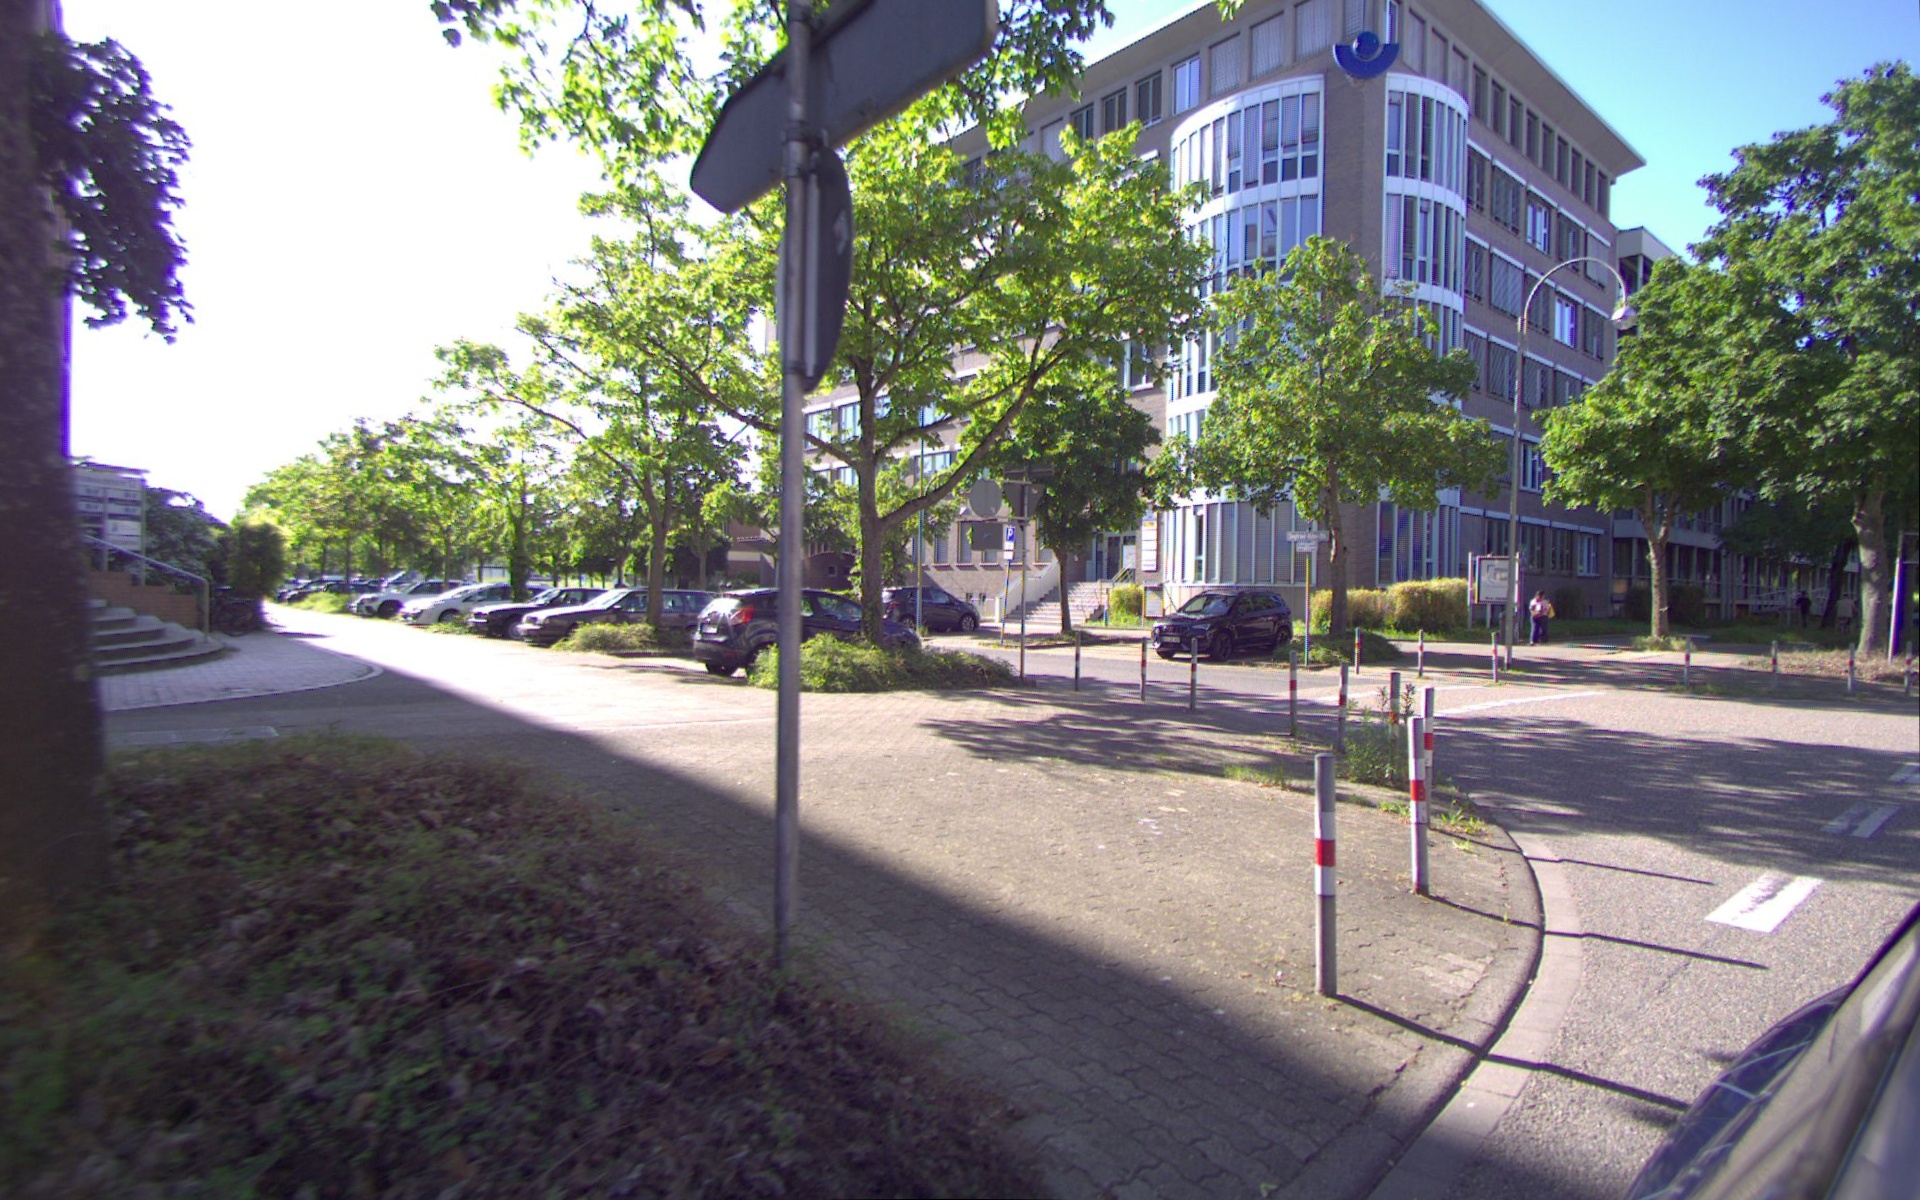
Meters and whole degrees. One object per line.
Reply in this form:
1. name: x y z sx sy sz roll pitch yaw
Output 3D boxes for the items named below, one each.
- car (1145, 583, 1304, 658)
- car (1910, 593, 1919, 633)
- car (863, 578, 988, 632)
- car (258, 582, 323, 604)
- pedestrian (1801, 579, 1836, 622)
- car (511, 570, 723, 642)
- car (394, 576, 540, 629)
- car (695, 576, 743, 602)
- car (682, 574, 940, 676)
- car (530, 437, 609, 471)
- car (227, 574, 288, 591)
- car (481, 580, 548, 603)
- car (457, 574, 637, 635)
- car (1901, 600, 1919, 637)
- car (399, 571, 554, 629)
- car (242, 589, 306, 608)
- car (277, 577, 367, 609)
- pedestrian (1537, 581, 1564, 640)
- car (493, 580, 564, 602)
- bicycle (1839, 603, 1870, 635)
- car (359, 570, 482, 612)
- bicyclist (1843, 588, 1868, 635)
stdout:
1. car: 6.532 0.419 24.749 4.294 1.585 1.740 -2 2 -43
2. car: 41.595 0.646 41.211 1.633 1.609 4.129 -2 4 -44
3. car: -1.159 0.122 34.440 3.925 1.604 1.705 -3 2 -35
4. car: -46.294 -0.447 70.051 3.565 1.259 1.421 3 2 -41
5. pedestrian: 37.575 0.027 44.306 1.001 1.821 1.036 0 -1 -41
6. car: -7.626 0.113 22.683 4.193 1.479 1.694 0 1 -37
7. car: -15.923 0.096 32.786 3.929 1.521 1.534 3 -1 -41
8. car: -14.652 -0.700 61.336 1.507 1.462 3.910 -1 2 -35
9. car: -2.350 0.376 16.472 3.847 1.481 1.656 1 0 -40
10. car: -21.841 -8.121 56.645 3.844 1.462 1.533 -1 2 -43
11. car: -56.503 -1.438 81.426 3.842 1.260 1.534 1 0 -42
12. car: -29.753 -0.592 67.610 3.845 1.462 1.533 -1 2 -44
13. car: -10.563 0.163 26.068 3.932 1.386 1.623 4 -3 -44
14. car: 38.330 0.804 38.094 1.627 1.387 4.121 0 3 -43
15. car: -14.708 0.013 30.882 3.929 1.584 1.625 3 -1 -41
16. car: -51.886 -0.090 76.564 3.840 1.260 1.534 3 -1 -41
17. car: -34.128 -0.377 54.153 3.840 1.521 1.534 3 -1 -41
18. pedestrian: 16.440 0.294 28.169 0.537 1.602 0.639 1 0 40
19. car: -27.365 -0.590 64.208 3.844 1.331 1.533 0 1 -44
20. bicycle: 31.888 0.657 36.086 1.885 1.092 0.535 1 1 -40
21. car: -20.266 -0.325 38.122 3.841 1.521 1.534 1 1 -41
22. bicyclist: 31.997 0.410 36.169 0.808 1.657 0.538 1 0 -40
